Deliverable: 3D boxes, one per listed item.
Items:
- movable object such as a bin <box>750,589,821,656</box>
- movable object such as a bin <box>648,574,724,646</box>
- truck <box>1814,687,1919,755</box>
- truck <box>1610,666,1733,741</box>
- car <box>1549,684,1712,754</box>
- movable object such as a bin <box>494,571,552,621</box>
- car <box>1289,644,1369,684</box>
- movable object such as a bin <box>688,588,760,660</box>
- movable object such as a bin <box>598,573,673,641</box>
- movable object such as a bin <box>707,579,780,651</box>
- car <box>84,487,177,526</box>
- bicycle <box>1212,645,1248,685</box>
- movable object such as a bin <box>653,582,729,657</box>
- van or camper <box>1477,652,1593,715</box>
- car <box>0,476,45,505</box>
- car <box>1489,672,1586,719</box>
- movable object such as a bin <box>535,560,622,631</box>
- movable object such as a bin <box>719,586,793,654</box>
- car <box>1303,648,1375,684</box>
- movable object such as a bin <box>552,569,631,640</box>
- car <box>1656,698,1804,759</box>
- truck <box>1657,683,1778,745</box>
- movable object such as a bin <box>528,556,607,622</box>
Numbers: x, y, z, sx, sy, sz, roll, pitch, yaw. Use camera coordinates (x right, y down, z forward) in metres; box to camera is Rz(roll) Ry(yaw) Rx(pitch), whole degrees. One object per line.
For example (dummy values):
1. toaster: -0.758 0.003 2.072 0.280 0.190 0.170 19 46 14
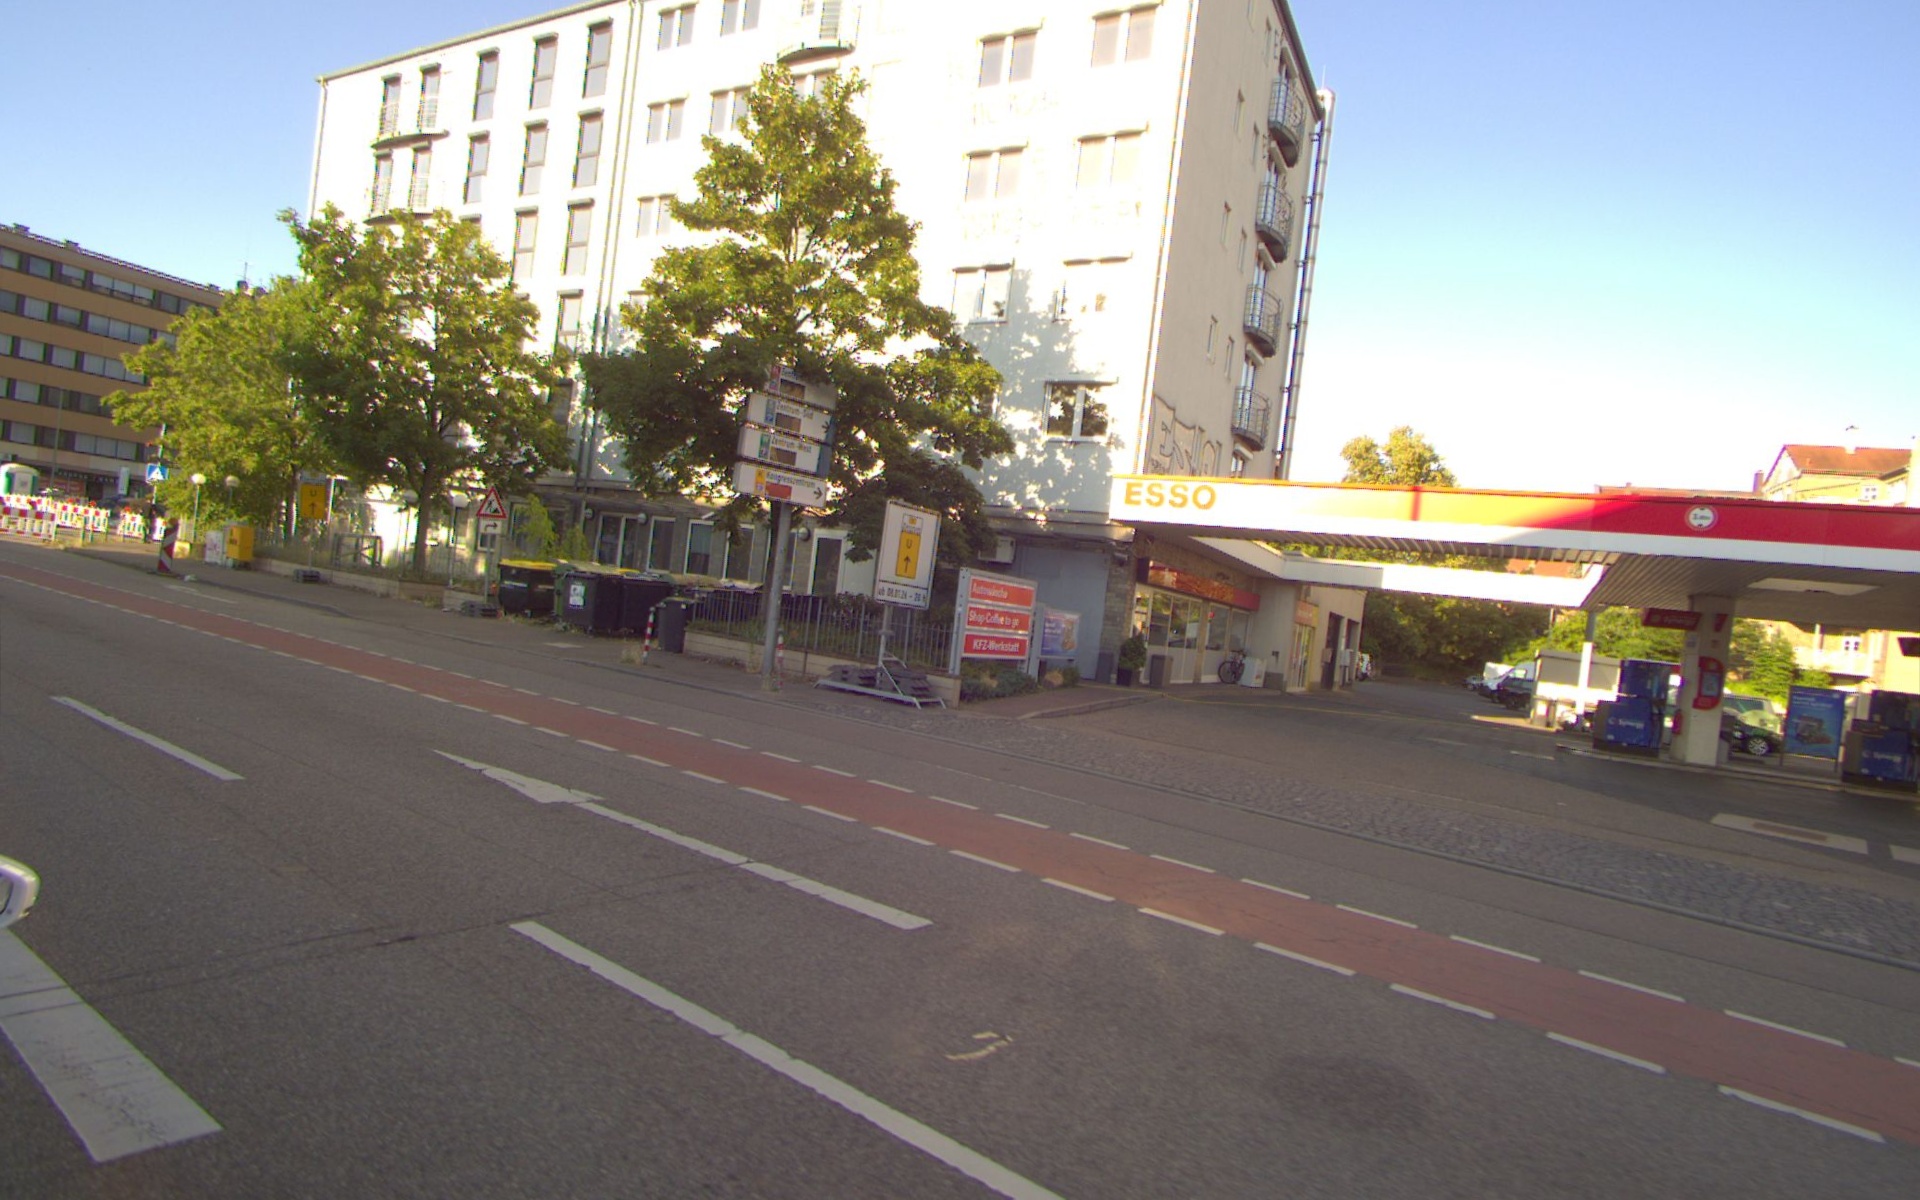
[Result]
1. movable object such as a bin: -3.922 0.508 22.619 1.079 1.345 0.955 7 1 29
2. movable object such as a bin: -6.293 0.234 23.145 1.142 1.467 1.033 7 1 29
3. truck: 51.224 6.742 56.336 4.665 3.106 1.995 7 1 33
4. truck: 30.786 4.433 43.682 3.932 2.591 1.996 7 0 30
5. car: 20.535 3.603 30.994 3.935 1.482 1.995 7 0 33
6. movable object such as a bin: -10.313 -0.086 23.747 0.805 1.058 0.852 7 0 27
7. car: 21.658 3.751 59.092 3.933 1.816 1.996 7 0 31
8. movable object such as a bin: -4.867 0.499 20.774 0.937 1.345 0.955 7 1 29
9. movable object such as a bin: -7.244 0.158 22.462 1.142 1.345 0.955 7 1 29
10. movable object such as a bin: -5.109 0.363 23.812 1.142 1.517 1.033 7 1 29
11. car: -54.864 -6.144 66.594 1.967 1.839 4.220 7 0 32
12. bicycle: 7.999 1.944 29.794 0.417 1.117 1.968 7 0 30
13. movable object such as a bin: -5.313 0.398 19.902 0.937 1.345 0.955 7 1 29
14. van or camper: 32.411 4.664 56.886 5.249 2.722 2.206 7 1 25
15. car: -59.558 -6.975 62.155 1.756 1.437 3.997 7 0 26
16. car: 27.642 4.576 48.293 3.830 1.628 1.685 7 -1 29
17. movable object such as a bin: -8.756 -0.087 23.134 1.087 1.441 1.350 7 0 27
18. movable object such as a bin: -4.406 0.441 21.728 1.079 1.299 0.955 7 0 29
19. car: 24.873 4.319 66.014 3.933 1.816 1.996 7 0 31
20. movable object such as a bin: -7.887 0.097 21.533 1.142 1.345 0.955 7 1 29
21. car: 27.706 4.584 36.363 3.935 1.482 1.995 7 0 33
22. truck: 29.673 4.438 39.528 3.433 1.852 1.778 7 0 31
23. movable object such as a bin: -9.911 -0.267 25.411 1.087 1.479 1.350 7 0 27
